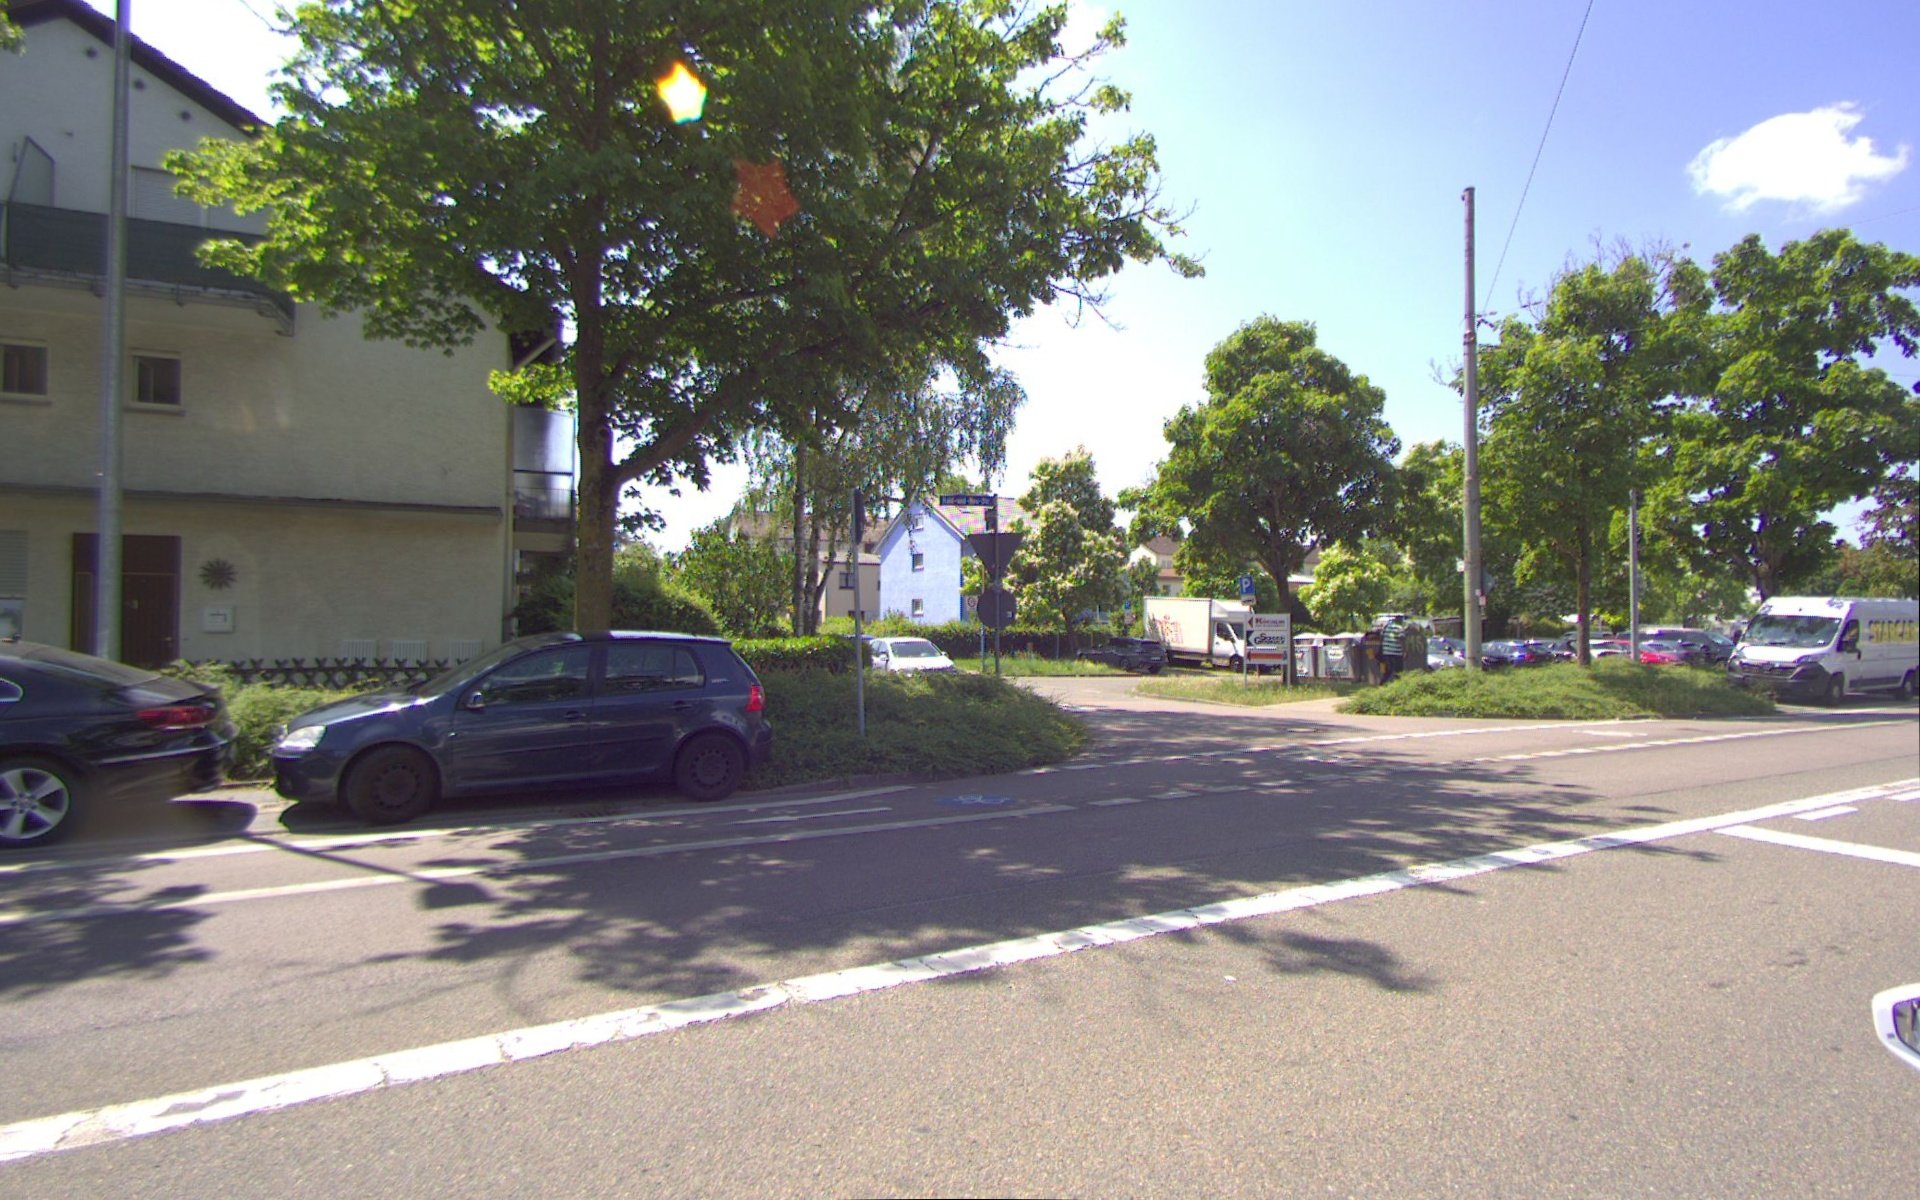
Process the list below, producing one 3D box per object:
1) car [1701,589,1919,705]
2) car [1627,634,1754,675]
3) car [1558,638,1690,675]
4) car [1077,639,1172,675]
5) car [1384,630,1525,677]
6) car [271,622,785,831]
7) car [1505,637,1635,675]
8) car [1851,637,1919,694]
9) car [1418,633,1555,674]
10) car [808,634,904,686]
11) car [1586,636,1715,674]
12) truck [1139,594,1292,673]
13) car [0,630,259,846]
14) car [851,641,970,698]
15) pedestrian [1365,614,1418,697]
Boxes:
[{"bbox_3d":[20.985,1.091,24.567,6.116,2.520,2.147,1,1,-29],"label":"car"},{"bbox_3d":[30.631,2.234,42.226,1.785,1.627,3.967,1,-2,-31],"label":"car"},{"bbox_3d":[26.078,2.192,39.575,1.785,1.357,3.967,1,-2,-31],"label":"car"},{"bbox_3d":[6.805,2.337,41.828,1.753,1.417,3.966,1,-2,-32],"label":"car"},{"bbox_3d":[16.640,1.764,33.974,1.785,1.461,3.967,1,-2,-31],"label":"car"},{"bbox_3d":[-3.820,0.993,9.232,4.001,1.500,1.766,1,0,-31],"label":"car"},{"bbox_3d":[23.532,2.114,38.888,1.785,1.357,3.967,1,-2,-31],"label":"car"},{"bbox_3d":[26.579,1.766,27.632,4.291,1.456,1.860,1,-2,-30],"label":"car"},{"bbox_3d":[18.517,1.857,35.520,1.785,1.357,3.967,1,-2,-31],"label":"car"},{"bbox_3d":[-3.393,1.879,32.143,1.788,1.536,3.973,1,-2,-27],"label":"car"},{"bbox_3d":[28.144,2.205,41.064,1.784,1.461,3.968,1,-2,-31],"label":"car"},{"bbox_3d":[11.363,1.514,45.482,2.307,3.270,7.148,1,-2,-32],"label":"truck"},{"bbox_3d":[-7.800,0.938,7.016,4.645,1.391,1.765,1,0,-33],"label":"car"},{"bbox_3d":[-1.414,1.802,27.065,1.788,1.376,3.973,1,-2,-27],"label":"car"},{"bbox_3d":[9.900,1.251,23.046,0.961,1.847,0.792,-1,-2,35],"label":"pedestrian"}]
